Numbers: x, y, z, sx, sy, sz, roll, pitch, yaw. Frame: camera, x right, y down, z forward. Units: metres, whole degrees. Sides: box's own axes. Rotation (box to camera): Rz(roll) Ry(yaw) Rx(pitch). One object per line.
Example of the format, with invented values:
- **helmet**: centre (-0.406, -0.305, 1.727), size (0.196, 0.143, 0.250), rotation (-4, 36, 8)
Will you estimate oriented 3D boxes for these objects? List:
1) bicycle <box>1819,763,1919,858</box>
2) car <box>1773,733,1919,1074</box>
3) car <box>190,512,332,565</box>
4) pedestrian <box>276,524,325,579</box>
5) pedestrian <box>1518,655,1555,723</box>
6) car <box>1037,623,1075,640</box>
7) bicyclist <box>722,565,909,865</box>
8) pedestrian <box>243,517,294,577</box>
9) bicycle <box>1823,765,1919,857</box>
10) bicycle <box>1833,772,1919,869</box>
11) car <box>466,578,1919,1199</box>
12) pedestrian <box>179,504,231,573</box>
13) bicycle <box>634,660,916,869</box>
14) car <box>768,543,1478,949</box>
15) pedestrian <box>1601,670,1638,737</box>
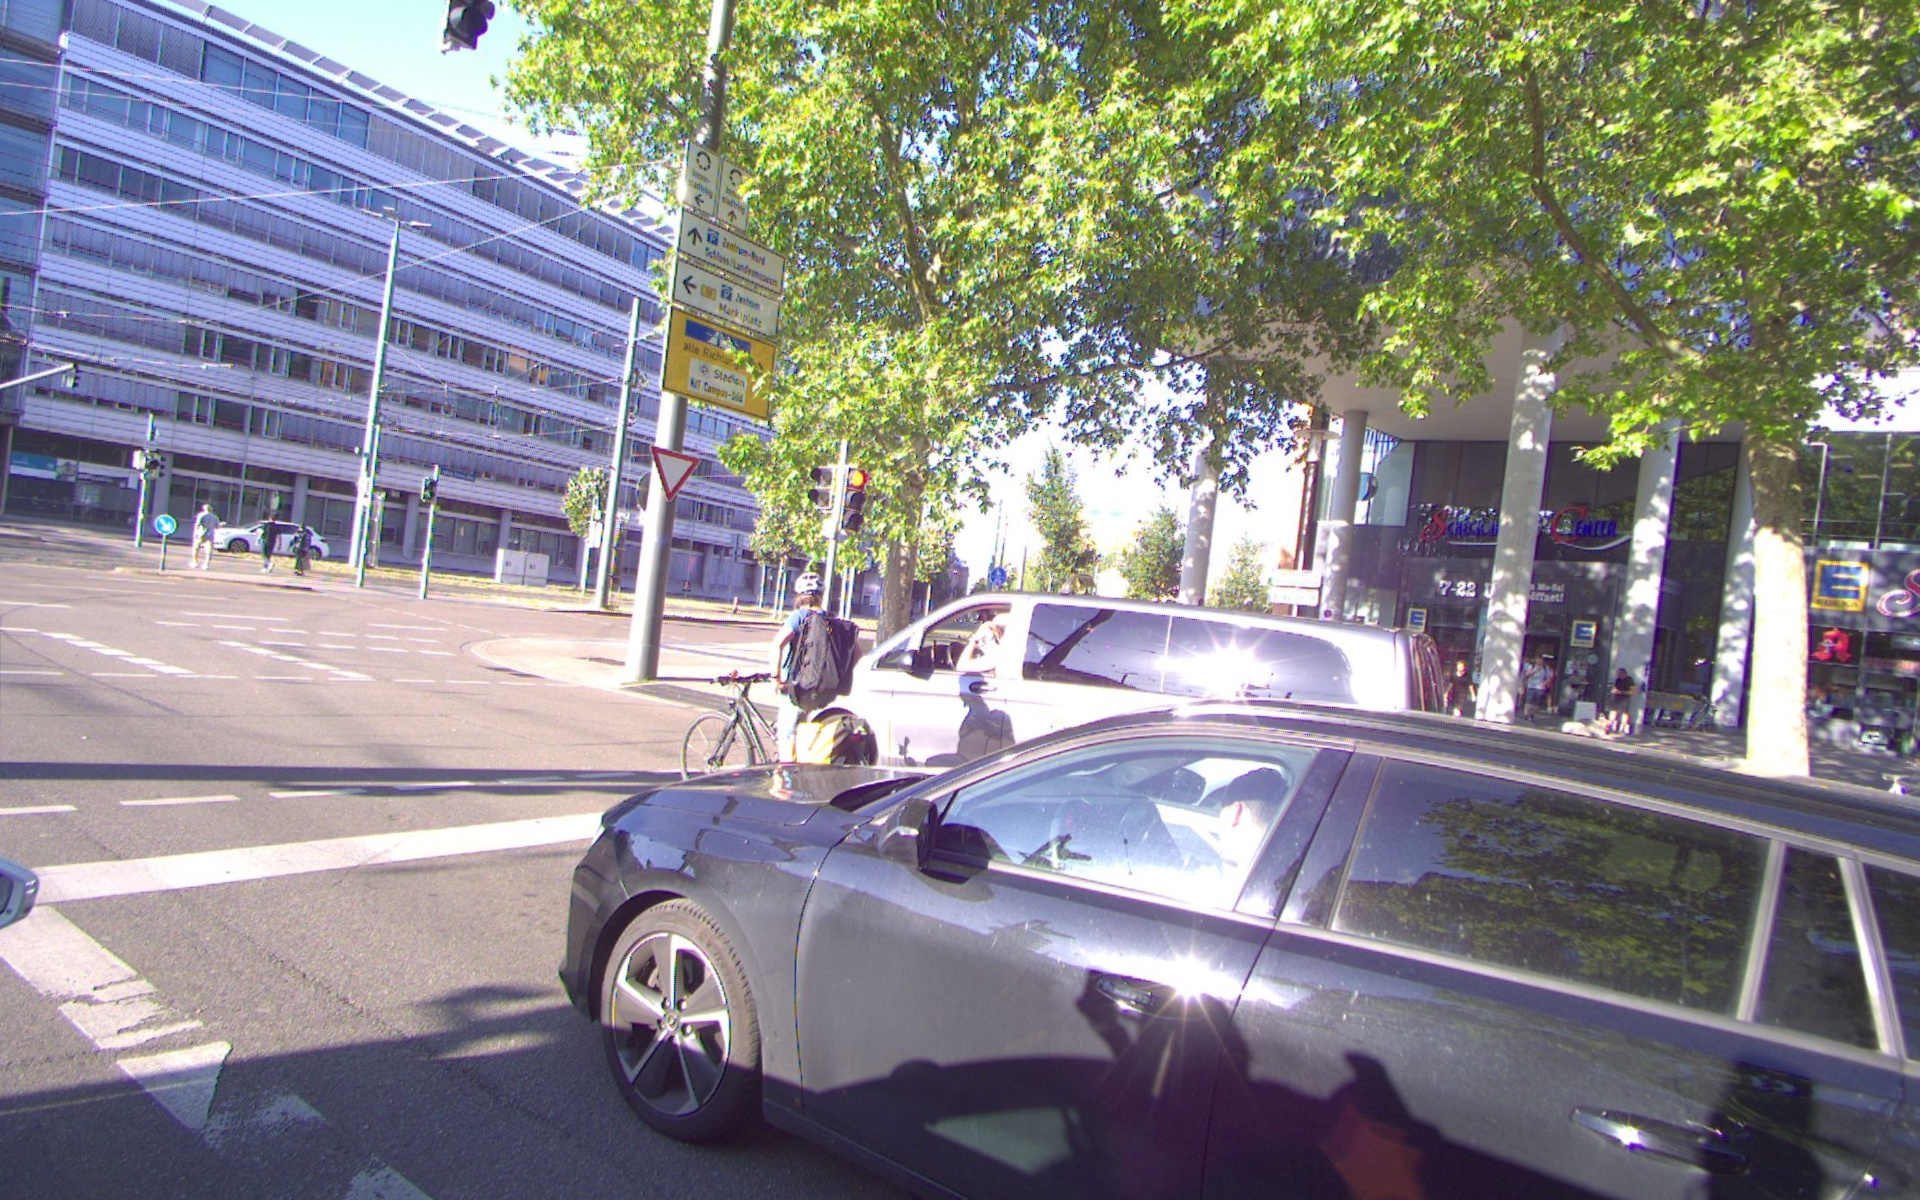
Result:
- **bicycle**: centre (11.198, 2.544, 12.084), size (0.437, 0.930, 1.210), rotation (6, 0, -39)
- **car**: centre (6.592, 1.742, 4.557), size (4.181, 1.503, 1.741), rotation (7, 0, 31)
- **car**: centre (-28.212, -2.444, 40.725), size (1.734, 1.506, 4.296), rotation (7, 0, 36)
- **pedestrian**: centre (-20.966, -1.534, 31.970), size (0.883, 1.583, 0.947), rotation (7, 1, 39)
- **pedestrian**: centre (16.132, 2.471, 28.162), size (0.592, 1.805, 0.887), rotation (7, 1, 22)
- **car**: centre (9.324, 3.086, 97.906), size (1.758, 1.411, 3.984), rotation (7, 1, 37)
- **bicyclist**: centre (-0.909, 0.691, 6.366), size (0.766, 1.714, 0.632), rotation (7, 1, 32)
- **pedestrian**: centre (-21.601, -1.661, 31.430), size (1.020, 1.706, 0.912), rotation (7, 1, 39)
- **bicycle**: centre (11.496, 2.607, 12.357), size (0.460, 0.938, 1.210), rotation (6, 0, -39)
- **bicycle**: centre (10.539, 2.478, 11.098), size (1.233, 0.898, 0.462), rotation (7, 1, 32)
- **car**: centre (0.786, 0.935, 2.742), size (4.199, 1.431, 1.742), rotation (7, -2, 32)
- **pedestrian**: centre (-21.578, -1.758, 28.755), size (0.859, 1.811, 0.863), rotation (7, 1, 39)
- **bicycle**: centre (-1.253, 1.014, 6.625), size (1.839, 0.993, 0.561), rotation (7, 1, 32)
- **car**: centre (1.118, 0.843, 7.961), size (5.012, 2.004, 1.939), rotation (7, 0, 31)
- **pedestrian**: centre (17.565, 2.746, 26.780), size (0.598, 1.707, 0.511), rotation (6, 1, -41)
